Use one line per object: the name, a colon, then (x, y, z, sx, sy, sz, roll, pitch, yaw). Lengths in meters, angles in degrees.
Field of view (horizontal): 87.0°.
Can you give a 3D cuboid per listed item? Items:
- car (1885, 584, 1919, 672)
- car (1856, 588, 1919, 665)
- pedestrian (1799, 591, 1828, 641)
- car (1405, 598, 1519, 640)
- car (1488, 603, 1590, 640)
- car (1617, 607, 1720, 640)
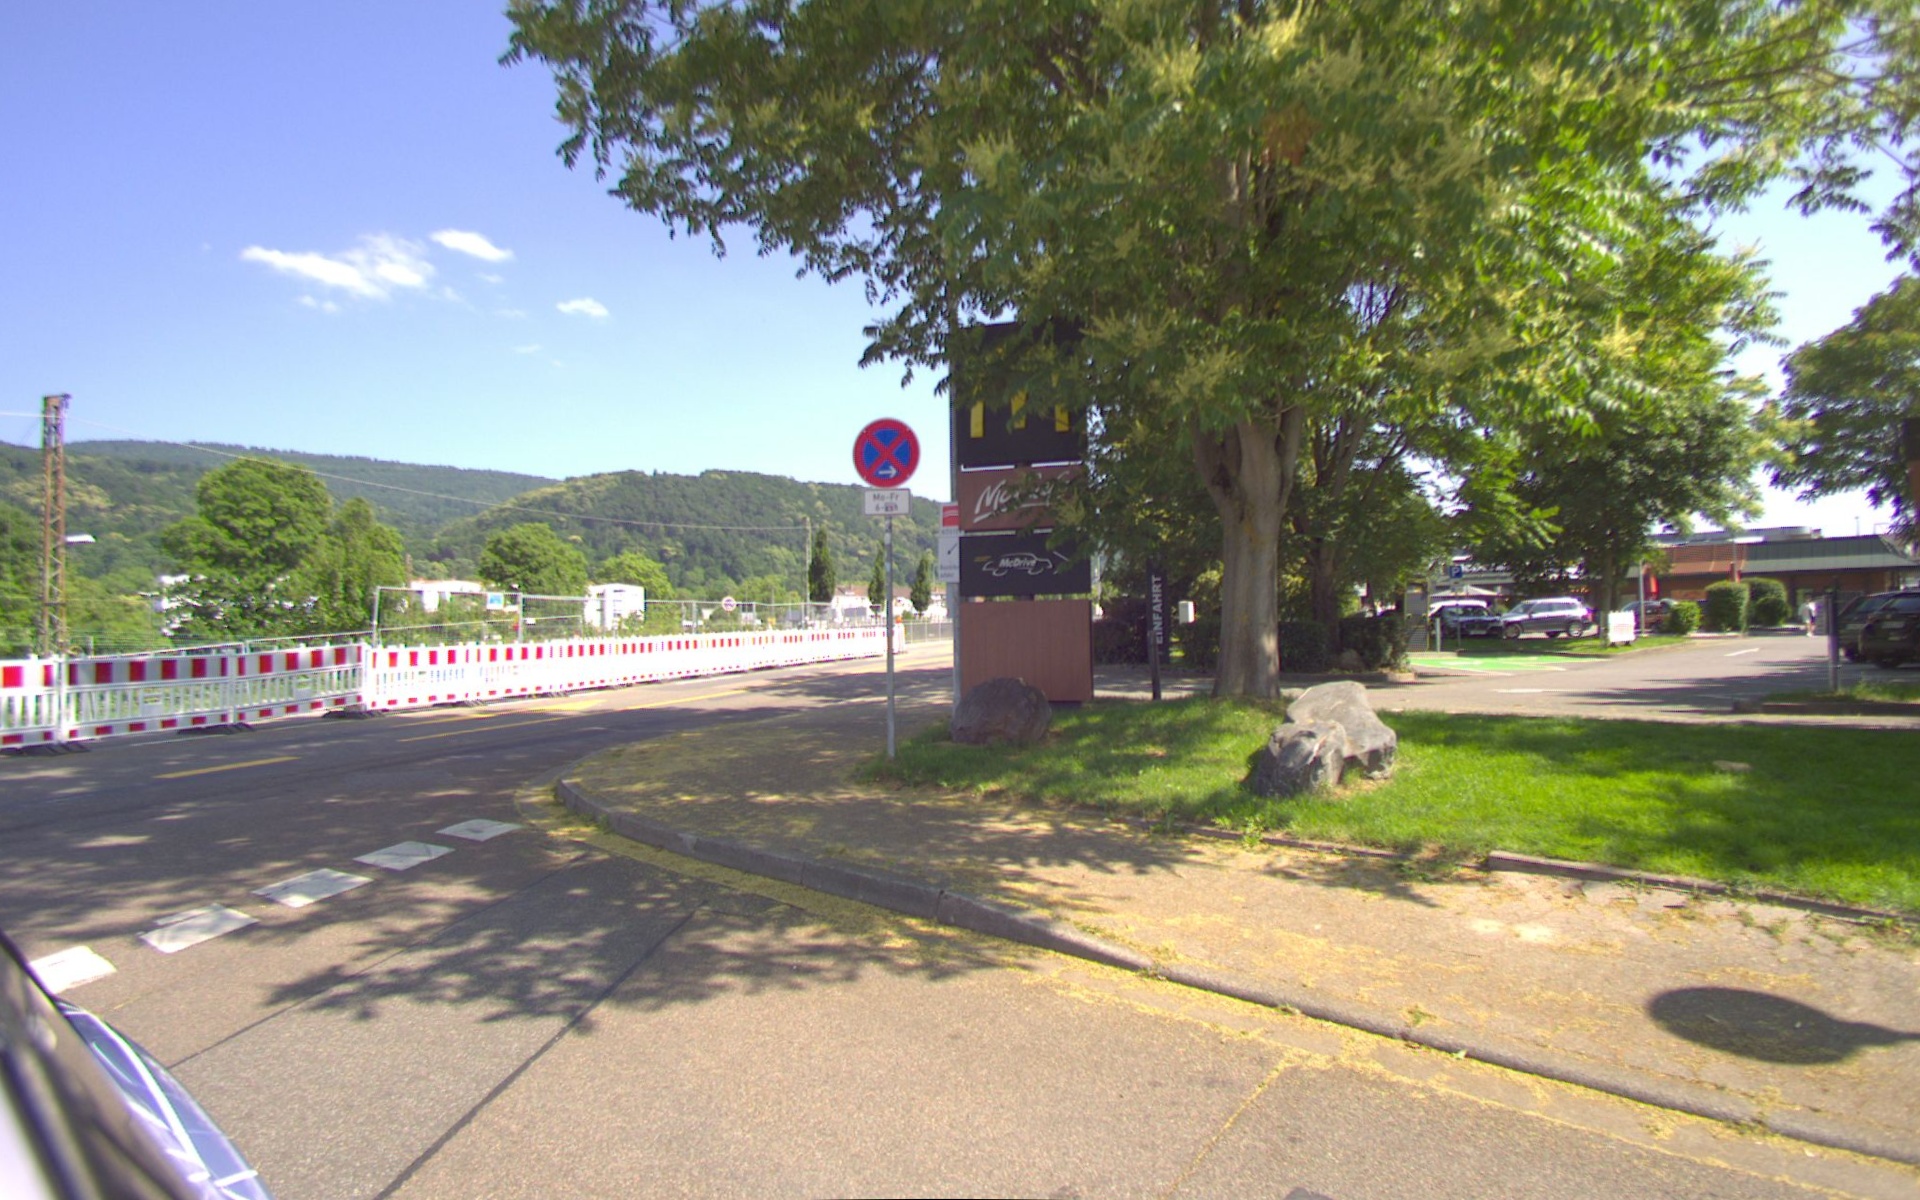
car: (16.307, 0.412, 15.190, 3.348, 1.343, 1.663, 0, -1, -3)
car: (18.400, 0.453, 18.075, 3.348, 1.343, 1.663, 0, -1, -3)
pedestrian: (32.237, 0.603, 38.227, 0.738, 1.868, 0.703, -1, -2, 36)
car: (16.961, 0.652, 34.270, 3.382, 1.343, 1.683, -1, -1, 28)
car: (25.617, 0.956, 44.873, 3.476, 1.568, 1.696, 0, -1, 5)
car: (36.362, 1.207, 52.062, 3.974, 1.652, 1.985, -1, -1, 23)
